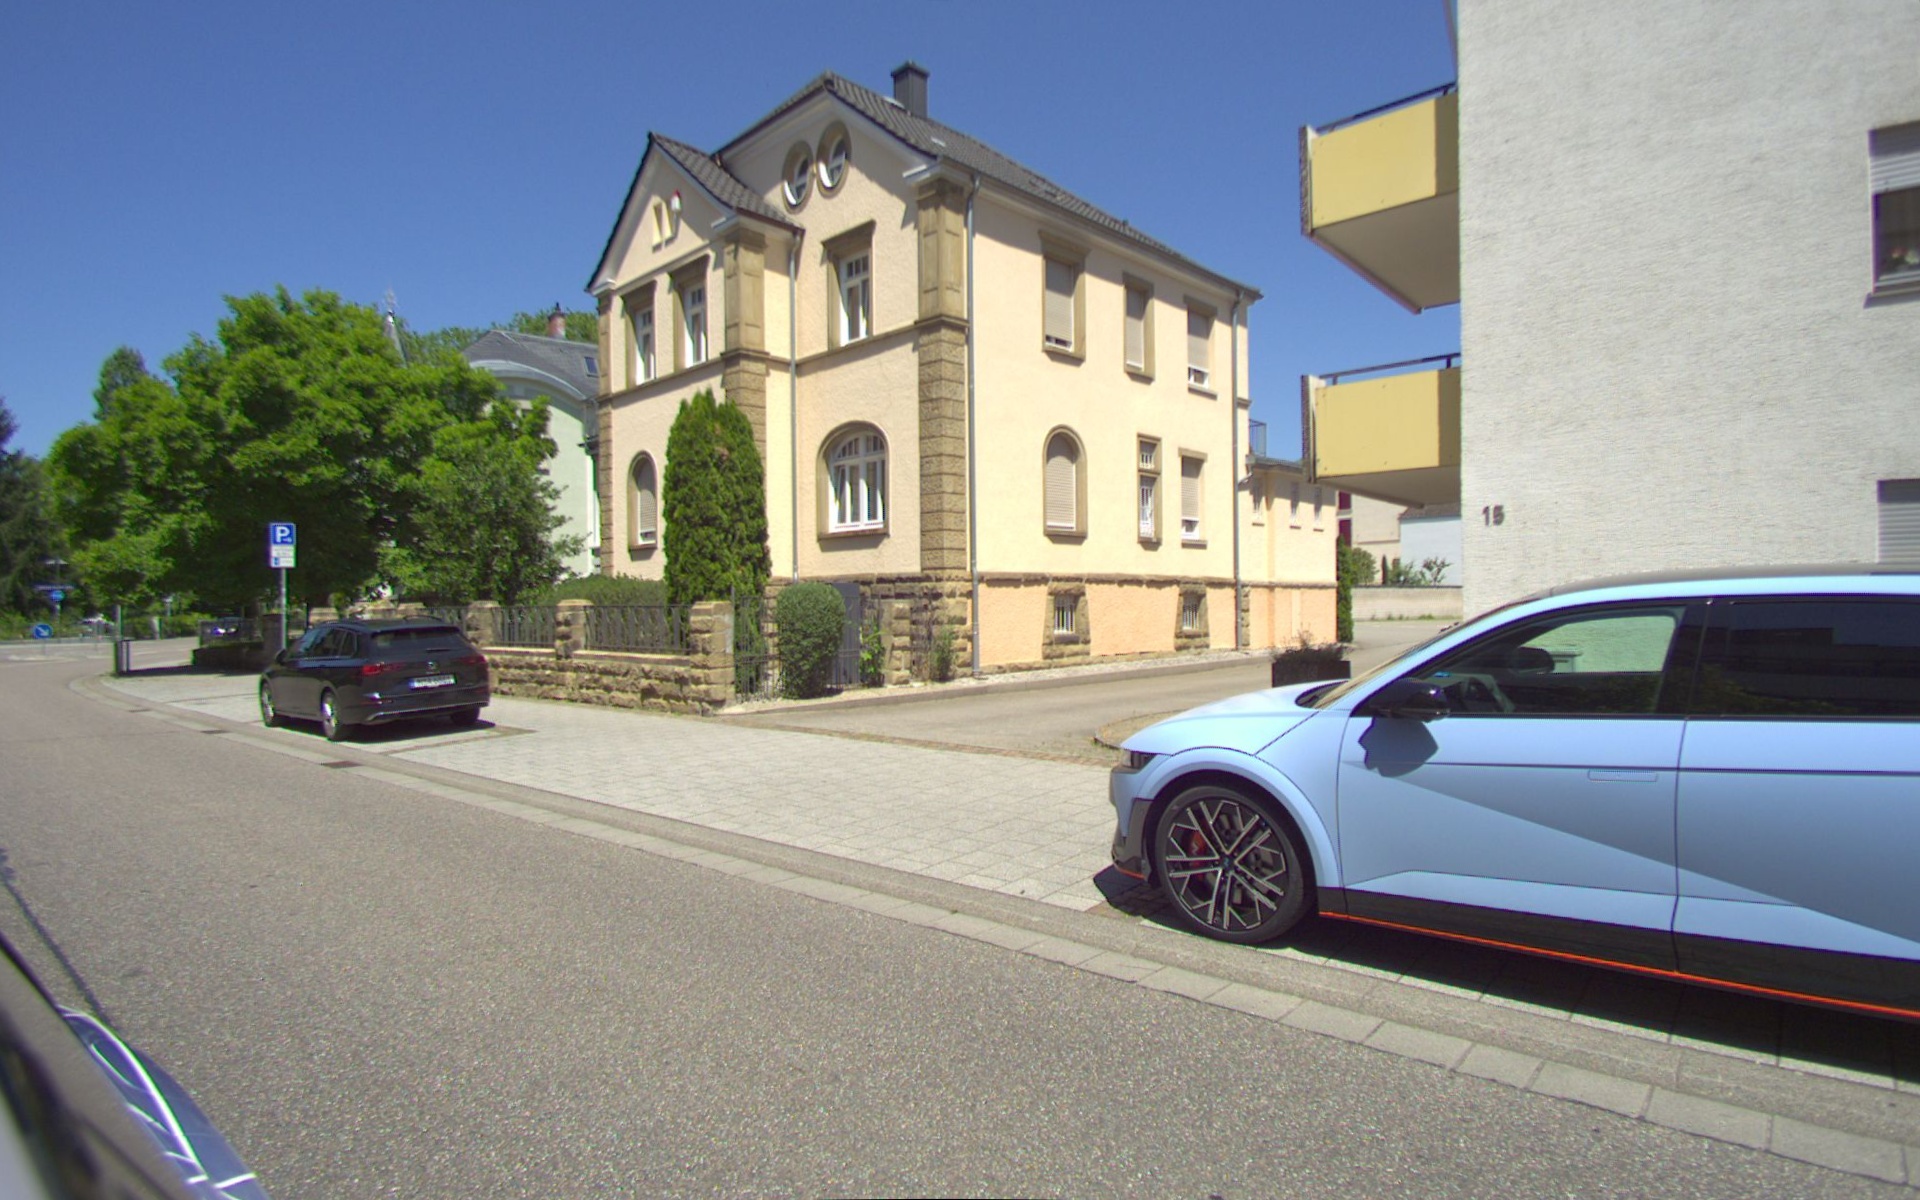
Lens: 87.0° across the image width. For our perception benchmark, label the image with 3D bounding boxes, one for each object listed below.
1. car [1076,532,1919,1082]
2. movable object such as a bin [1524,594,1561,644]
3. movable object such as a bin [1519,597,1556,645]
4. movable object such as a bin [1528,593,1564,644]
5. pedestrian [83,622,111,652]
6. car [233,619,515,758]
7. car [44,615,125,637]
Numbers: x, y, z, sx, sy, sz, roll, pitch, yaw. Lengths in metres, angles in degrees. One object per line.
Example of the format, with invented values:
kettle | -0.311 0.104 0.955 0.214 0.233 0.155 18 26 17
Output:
car | 2.945 0.564 4.021 4.657 1.584 1.906 -1 2 42
movable object such as a bin | 13.655 0.440 23.726 0.644 1.138 0.489 -1 -1 41
movable object such as a bin | 13.307 0.473 23.314 0.644 1.085 0.489 -1 -1 41
movable object such as a bin | 14.005 0.443 24.187 0.644 1.193 0.489 -1 -1 41
pedestrian | -52.773 2.260 61.866 0.902 1.785 0.915 1 0 0
car | -8.077 1.052 13.750 4.657 1.447 1.906 -1 2 42
car | -66.271 1.951 76.656 1.769 1.511 4.438 -2 0 41
